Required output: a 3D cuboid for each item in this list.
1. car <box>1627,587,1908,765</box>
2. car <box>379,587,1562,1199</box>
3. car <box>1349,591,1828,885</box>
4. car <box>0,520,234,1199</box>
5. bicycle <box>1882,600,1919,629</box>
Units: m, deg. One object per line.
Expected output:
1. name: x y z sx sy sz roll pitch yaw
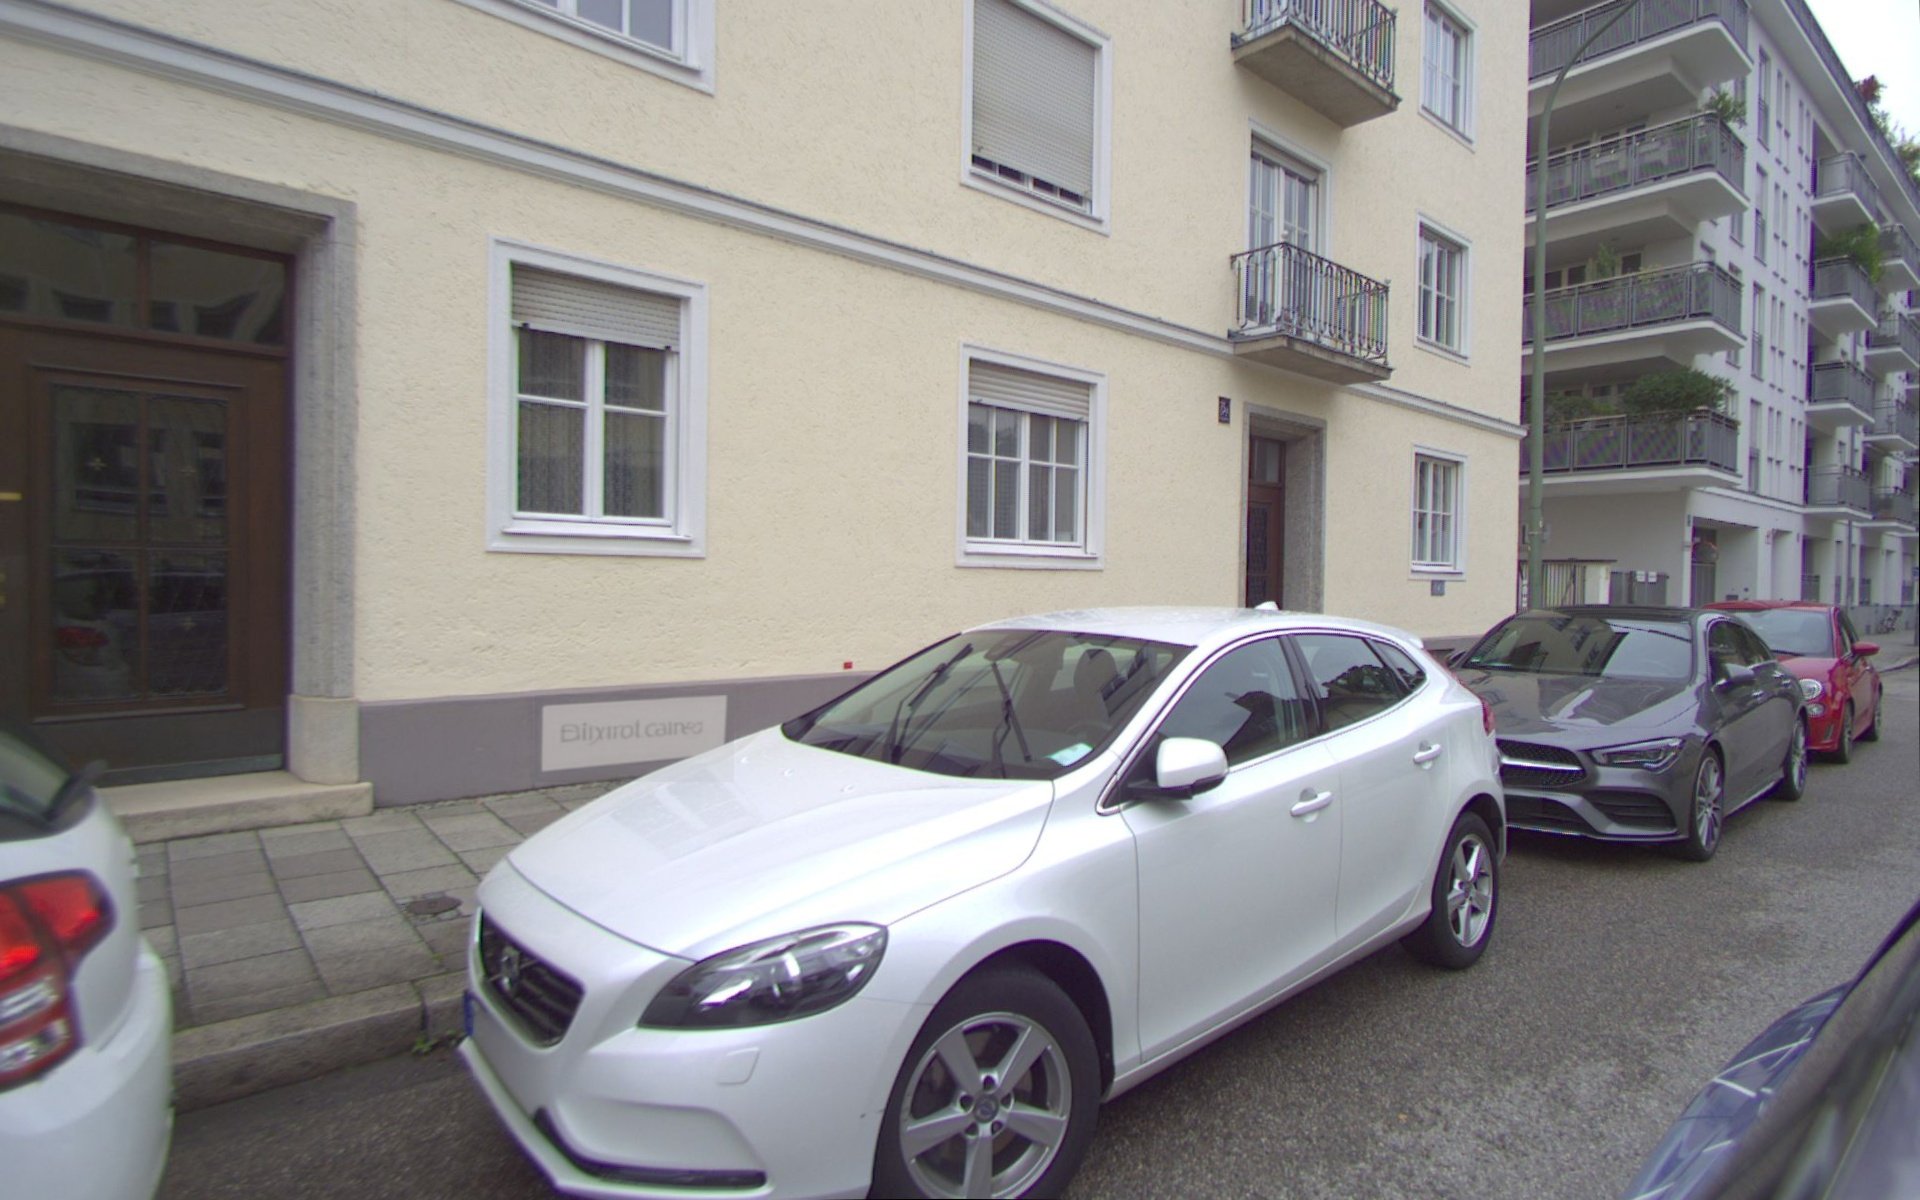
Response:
1. car: 8.565 0.636 10.633 3.758 1.516 1.682 0 1 -42
2. car: 0.513 0.685 3.725 4.366 1.427 1.682 0 1 -42
3. car: 4.597 0.668 7.094 4.345 1.427 1.682 0 1 -42
4. car: -3.179 0.632 0.792 4.096 1.500 1.681 0 1 -42
5. bicycle: 34.508 0.516 36.988 1.913 1.027 0.582 0 0 -27
